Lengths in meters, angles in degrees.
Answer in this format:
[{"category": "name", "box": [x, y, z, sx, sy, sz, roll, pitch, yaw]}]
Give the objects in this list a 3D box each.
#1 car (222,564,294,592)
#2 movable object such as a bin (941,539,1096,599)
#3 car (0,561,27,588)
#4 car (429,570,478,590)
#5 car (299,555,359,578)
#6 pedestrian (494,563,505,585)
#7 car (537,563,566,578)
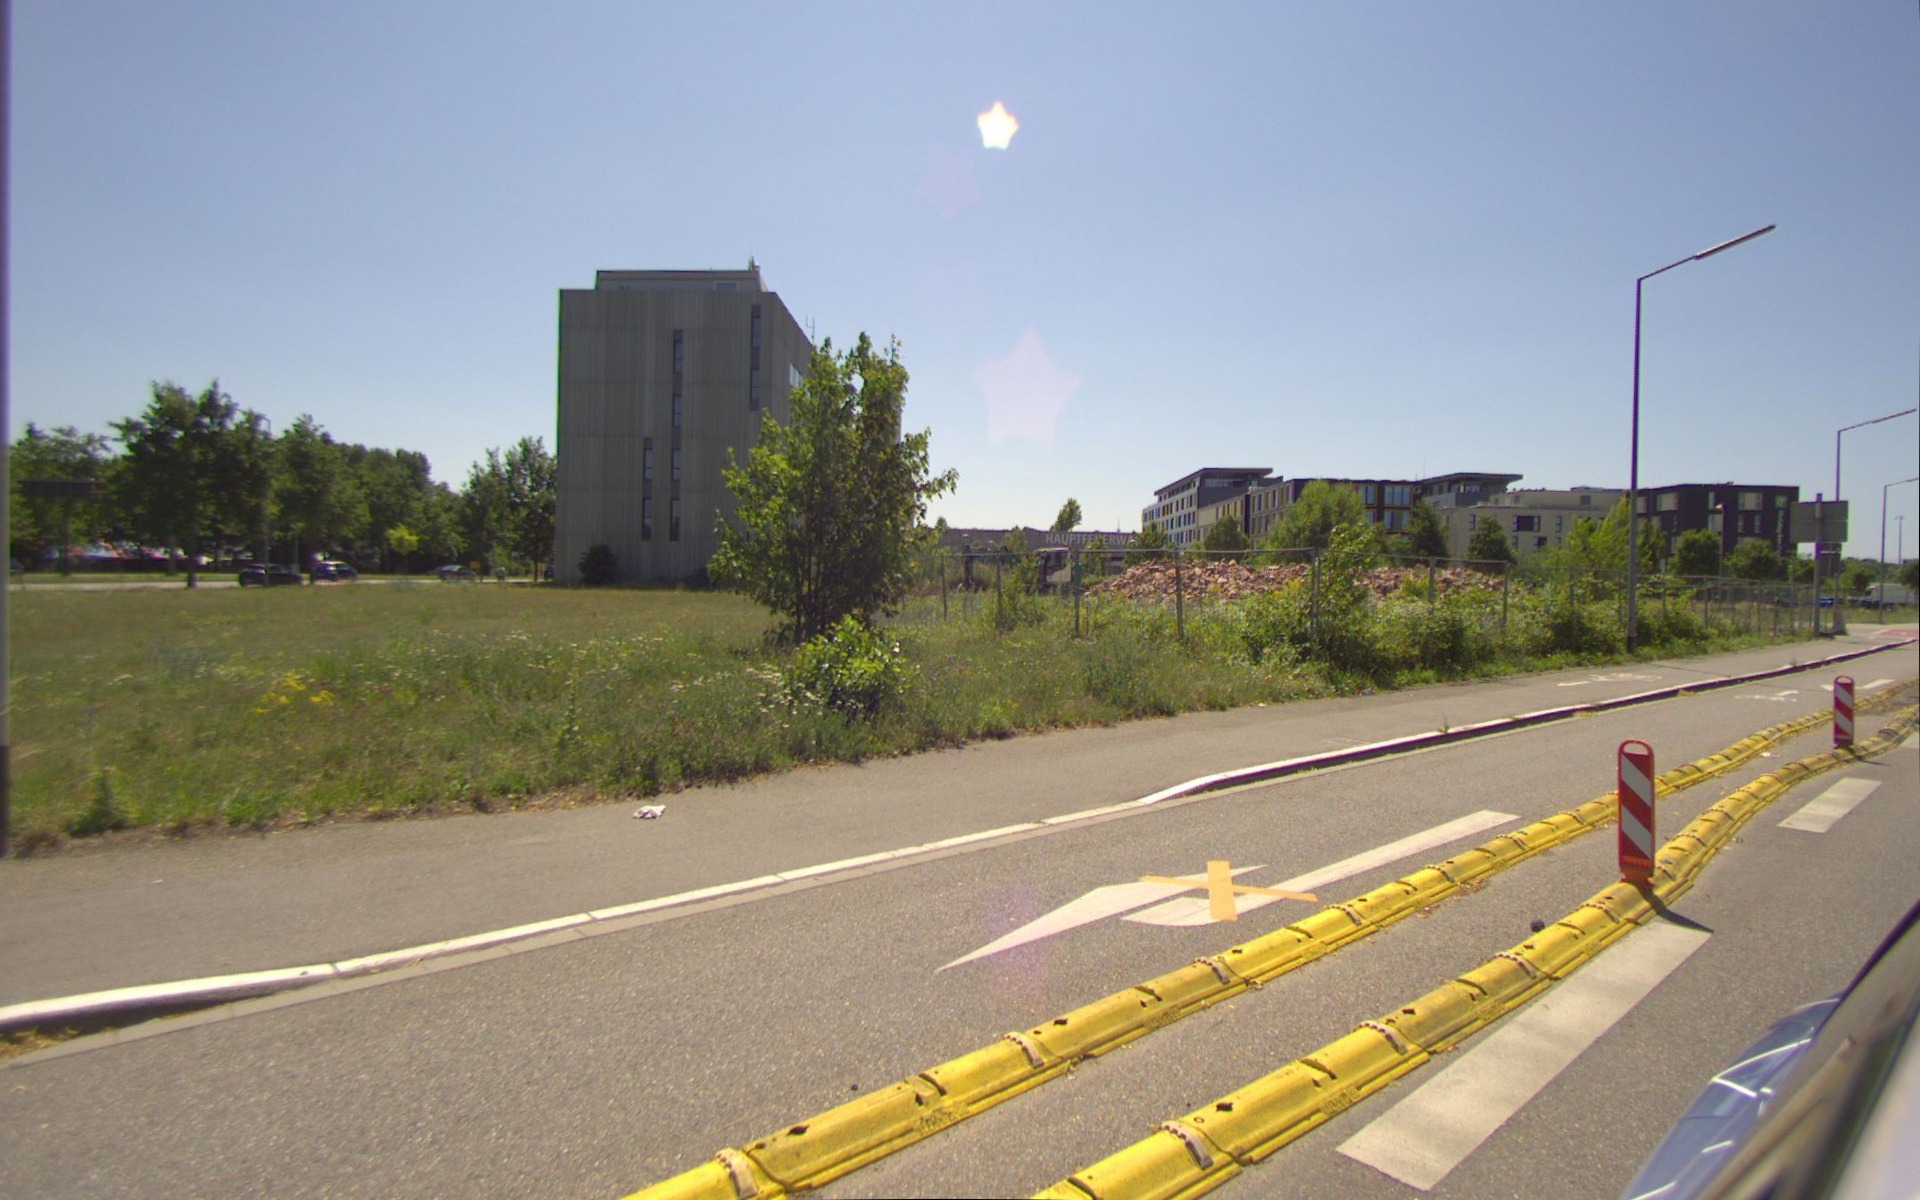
[{"category": "car", "box": [-42.755, -1.316, 61.716, 1.694, 1.571, 4.002, 3, 0, -3]}, {"category": "movable object such as a bin", "box": [3.103, -1.585, 53.296, 7.537, 2.952, 3.242, -1, 0, -26]}, {"category": "car", "box": [-59.179, -1.555, 60.973, 1.814, 1.612, 4.443, 0, 0, 1]}, {"category": "car", "box": [-44.962, -1.785, 89.940, 1.963, 1.615, 4.418, 2, 1, 1]}, {"category": "car", "box": [-48.376, -2.556, 77.678, 1.961, 1.615, 4.422, 2, 1, -3]}, {"category": "pedestrian", "box": [-33.374, -1.874, 73.306, 0.652, 1.611, 0.557, 0, 0, -15]}, {"category": "car", "box": [-47.997, -3.505, 118.955, 1.960, 1.615, 4.424, 3, 1, -5]}]
